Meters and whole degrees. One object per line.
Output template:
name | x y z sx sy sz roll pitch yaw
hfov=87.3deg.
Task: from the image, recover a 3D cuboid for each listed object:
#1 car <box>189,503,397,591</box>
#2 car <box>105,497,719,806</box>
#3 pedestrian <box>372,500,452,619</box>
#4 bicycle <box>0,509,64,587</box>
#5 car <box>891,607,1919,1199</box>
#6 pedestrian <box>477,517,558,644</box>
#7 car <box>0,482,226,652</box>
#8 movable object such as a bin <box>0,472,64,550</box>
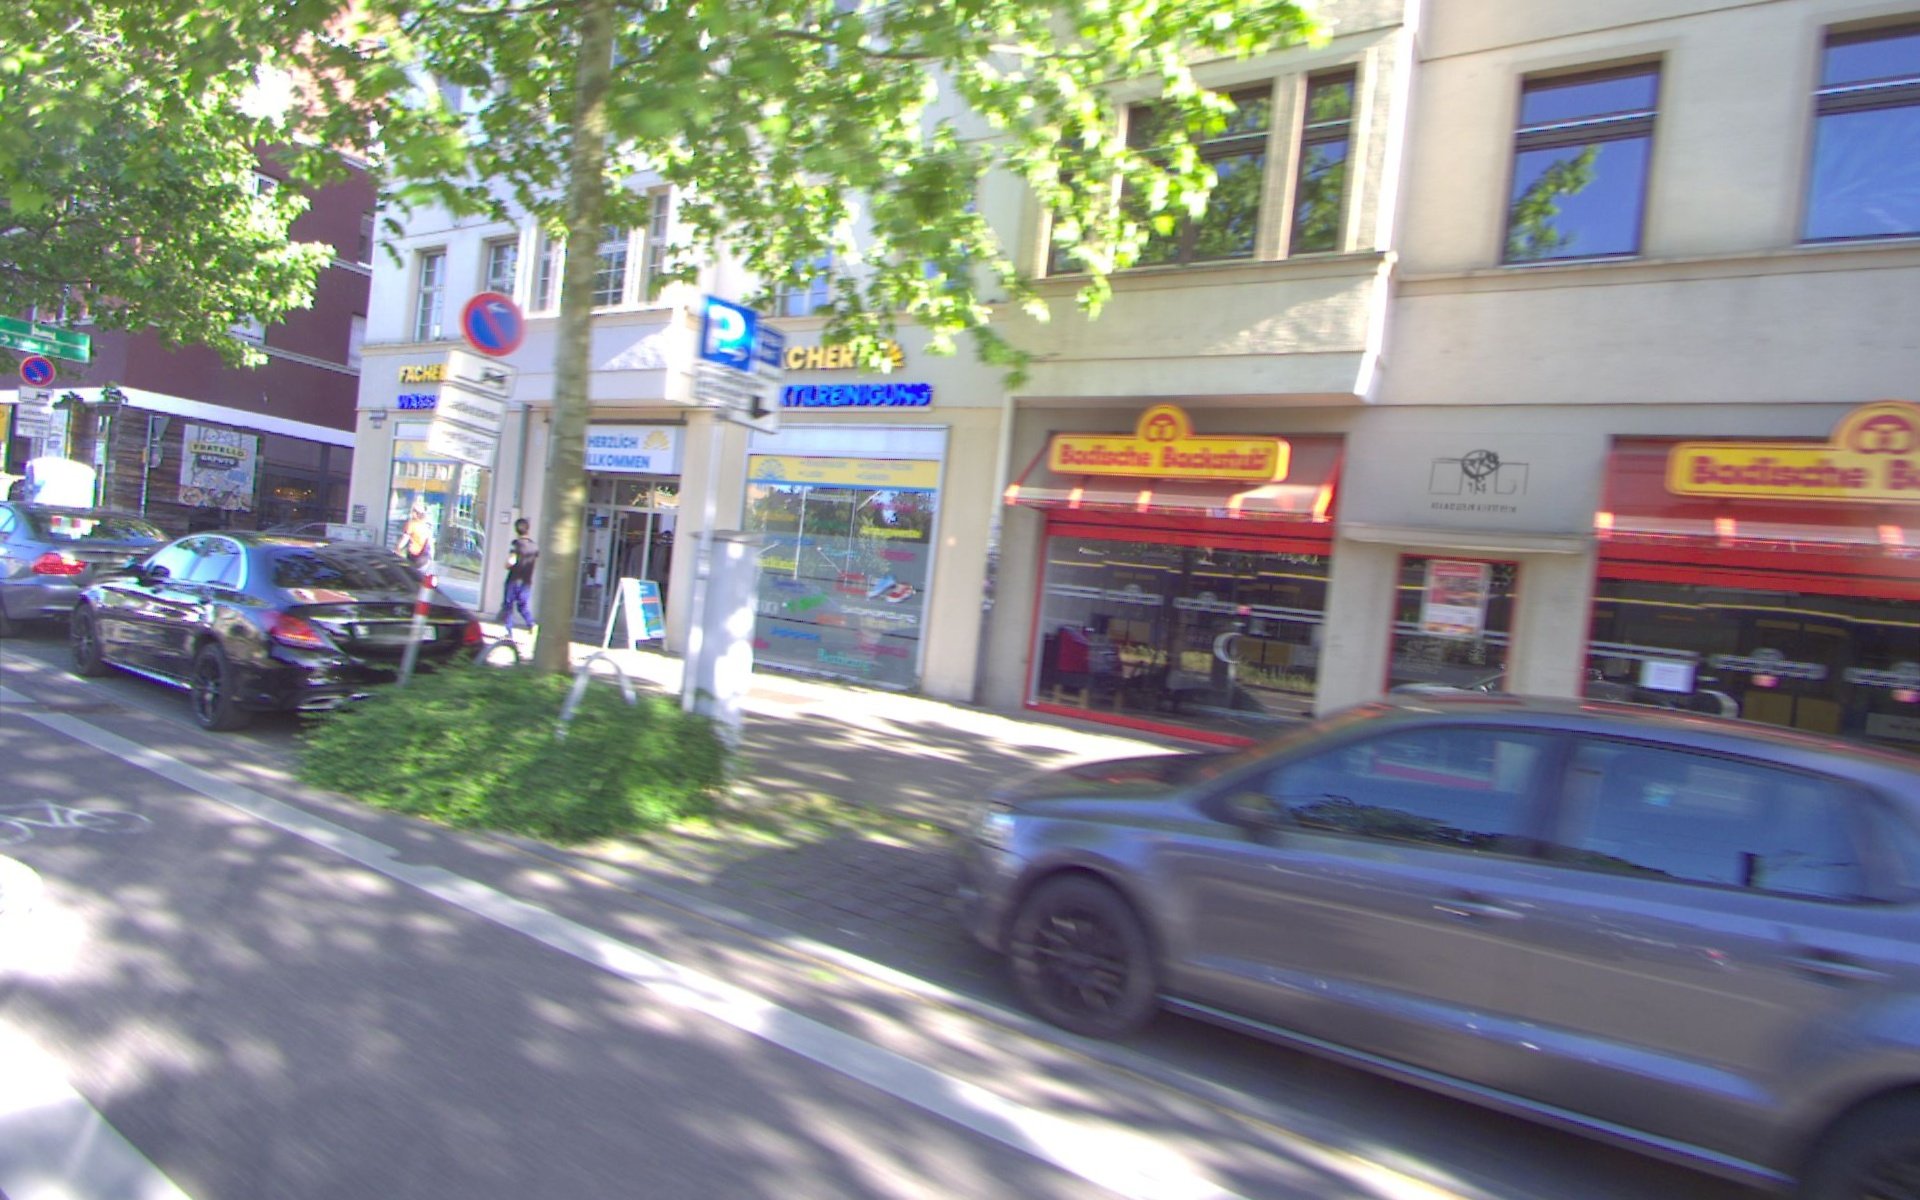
car | -18.452 -1.413 28.036 1.962 1.809 4.306 5 -2 31
car | -4.282 0.246 7.683 4.517 1.527 2.041 7 0 32
pedestrian | -9.354 -0.686 17.185 0.849 1.924 0.714 7 1 31
bicycle | -16.333 -0.947 17.175 2.197 1.176 0.582 7 -1 24
car | 1.807 1.007 3.872 3.738 1.522 1.695 7 2 31
pedestrian | -6.429 -0.281 14.613 0.757 1.731 0.558 7 0 31
car | -10.707 -0.491 11.777 4.362 1.574 1.792 7 -1 32
movable object such as a bin | -26.298 -2.552 27.104 3.418 1.866 1.950 8 1 26
